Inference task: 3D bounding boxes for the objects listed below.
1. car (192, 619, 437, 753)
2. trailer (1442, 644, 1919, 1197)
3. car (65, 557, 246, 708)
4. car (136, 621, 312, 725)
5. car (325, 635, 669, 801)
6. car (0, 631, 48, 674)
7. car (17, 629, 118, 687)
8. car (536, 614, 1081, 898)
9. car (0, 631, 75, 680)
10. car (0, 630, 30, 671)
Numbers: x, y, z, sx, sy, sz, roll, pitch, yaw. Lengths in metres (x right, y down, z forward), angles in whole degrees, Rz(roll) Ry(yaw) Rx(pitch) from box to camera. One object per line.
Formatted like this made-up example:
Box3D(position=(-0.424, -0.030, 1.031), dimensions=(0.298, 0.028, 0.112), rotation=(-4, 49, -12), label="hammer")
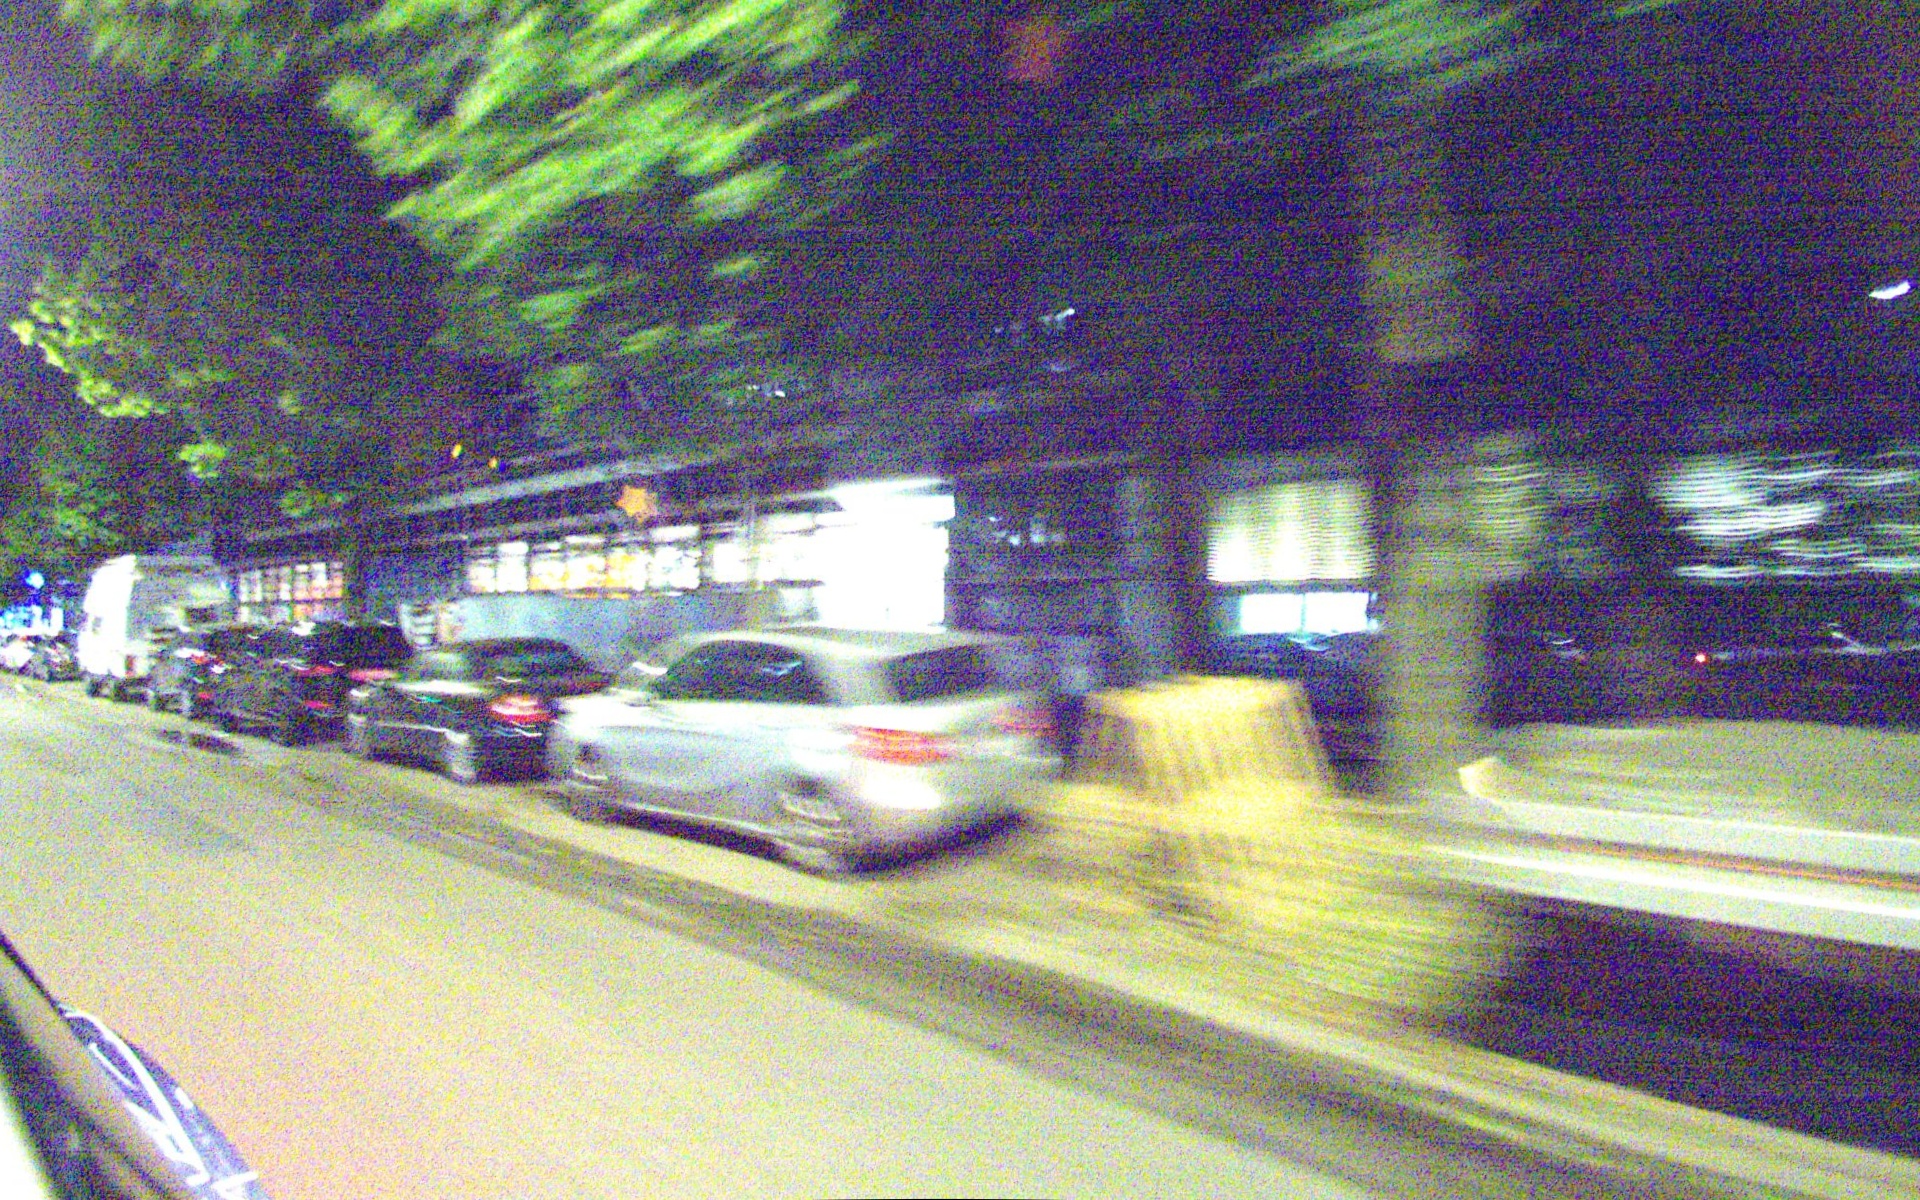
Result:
Box3D(position=(-9.409, 1.124, 14.617), dimensions=(4.294, 1.619, 1.725), rotation=(-1, -1, 39), label="car")
Box3D(position=(4.378, 0.866, 2.432), dimensions=(5.434, 1.345, 2.088), rotation=(-2, 0, 42), label="trailer")
Box3D(position=(-17.564, 0.679, 22.004), dimensions=(4.906, 2.931, 2.157), rotation=(-2, -1, 40), label="car")
Box3D(position=(-13.294, 1.219, 18.196), dimensions=(4.114, 1.619, 1.723), rotation=(-2, -1, 42), label="car")
Box3D(position=(-5.311, 1.143, 11.277), dimensions=(4.630, 1.422, 1.687), rotation=(-2, 0, 41), label="car")
Box3D(position=(-34.849, 1.911, 37.193), dimensions=(3.901, 1.440, 1.430), rotation=(-2, 0, 40), label="car")
Box3D(position=(-25.649, 1.621, 29.050), dimensions=(3.858, 1.516, 1.629), rotation=(-2, 0, 40), label="car")
Box3D(position=(-1.335, 0.923, 7.640), dimensions=(4.202, 1.513, 1.699), rotation=(-2, 0, 40), label="car")
Box3D(position=(-30.299, 1.776, 33.108), dimensions=(3.366, 1.466, 1.532), rotation=(-2, 0, 40), label="car")
Box3D(position=(-38.464, 2.004, 40.299), dimensions=(3.901, 1.516, 1.626), rotation=(-2, 0, 40), label="car")
